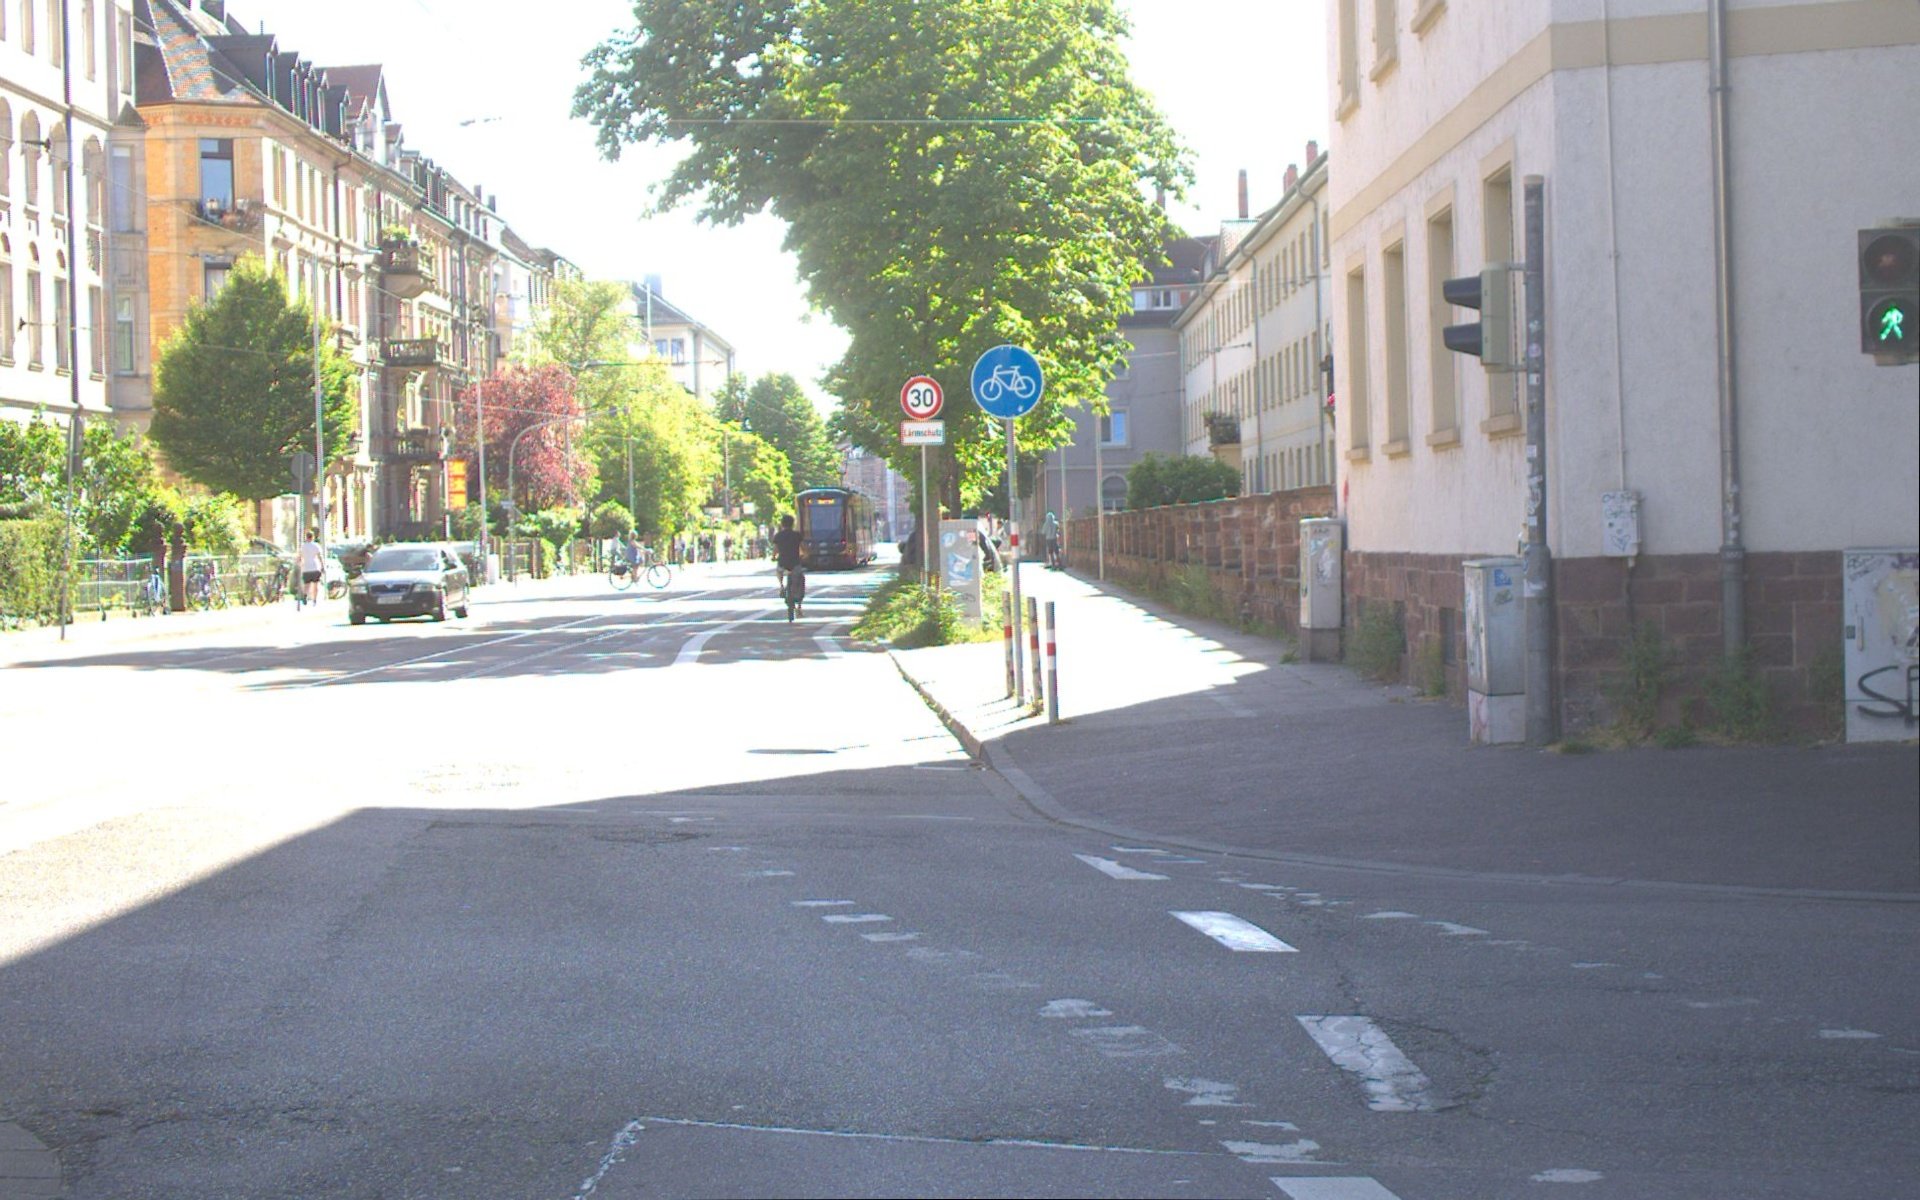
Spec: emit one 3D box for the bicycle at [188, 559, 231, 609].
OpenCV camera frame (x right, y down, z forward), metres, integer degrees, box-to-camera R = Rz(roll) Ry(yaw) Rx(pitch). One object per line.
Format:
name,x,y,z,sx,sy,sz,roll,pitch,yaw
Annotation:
bicycle,-16.059,-0.354,73.577,0.563,1.030,1.768,0,1,-1

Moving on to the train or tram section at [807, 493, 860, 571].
train or tram section,-5.653,-3.067,154.304,2.153,3.420,6.611,0,1,0

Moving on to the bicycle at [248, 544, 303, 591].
bicycle,-16.039,-0.767,80.531,0.563,1.030,1.767,-1,3,-36

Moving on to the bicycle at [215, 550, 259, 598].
bicycle,-16.495,-0.600,78.414,0.563,1.030,1.768,2,1,-24

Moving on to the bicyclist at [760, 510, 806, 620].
bicyclist,-2.987,-0.599,58.054,0.727,1.842,0.837,0,1,0

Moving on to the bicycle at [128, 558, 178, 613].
bicycle,-16.273,-0.301,69.362,0.563,1.030,1.768,0,2,1

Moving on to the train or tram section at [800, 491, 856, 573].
train or tram section,-5.649,-2.935,147.644,2.153,3.420,6.611,0,1,0

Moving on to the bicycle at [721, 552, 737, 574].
bicycle,-12.416,-1.985,185.013,0.692,1.108,1.718,-3,1,0

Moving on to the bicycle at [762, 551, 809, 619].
bicycle,-2.928,-0.264,57.806,0.692,1.108,1.718,0,1,0

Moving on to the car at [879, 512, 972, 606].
car,-0.674,-0.815,66.758,1.743,1.760,4.478,0,1,-1

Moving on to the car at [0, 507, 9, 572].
car,-26.421,-1.526,86.434,4.446,1.638,1.966,0,1,3

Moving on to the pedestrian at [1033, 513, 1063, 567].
pedestrian,2.818,-1.904,109.633,0.764,1.718,0.579,1,1,30

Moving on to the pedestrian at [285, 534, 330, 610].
pedestrian,-14.943,-0.635,78.800,0.829,1.718,1.082,0,0,0

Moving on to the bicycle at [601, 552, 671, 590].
bicycle,-9.373,-0.842,99.535,1.910,1.108,0.694,0,1,-23

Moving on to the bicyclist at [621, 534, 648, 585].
bicyclist,-9.418,-1.175,99.516,0.613,1.463,0.637,0,1,-24

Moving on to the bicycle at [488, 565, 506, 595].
bicycle,-15.819,-0.694,117.499,0.335,0.997,1.870,0,1,0

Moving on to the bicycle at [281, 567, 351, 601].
bicycle,-17.684,-0.448,94.398,1.783,0.911,0.621,-1,-1,-35

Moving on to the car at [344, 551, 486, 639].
car,-10.256,-0.128,64.963,1.832,1.513,4.967,1,1,1

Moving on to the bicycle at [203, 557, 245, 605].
bicycle,-16.203,-0.428,75.716,0.563,1.030,1.768,0,1,-1

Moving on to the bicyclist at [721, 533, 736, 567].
bicyclist,-12.437,-2.697,184.982,0.660,1.795,0.616,-3,0,0
